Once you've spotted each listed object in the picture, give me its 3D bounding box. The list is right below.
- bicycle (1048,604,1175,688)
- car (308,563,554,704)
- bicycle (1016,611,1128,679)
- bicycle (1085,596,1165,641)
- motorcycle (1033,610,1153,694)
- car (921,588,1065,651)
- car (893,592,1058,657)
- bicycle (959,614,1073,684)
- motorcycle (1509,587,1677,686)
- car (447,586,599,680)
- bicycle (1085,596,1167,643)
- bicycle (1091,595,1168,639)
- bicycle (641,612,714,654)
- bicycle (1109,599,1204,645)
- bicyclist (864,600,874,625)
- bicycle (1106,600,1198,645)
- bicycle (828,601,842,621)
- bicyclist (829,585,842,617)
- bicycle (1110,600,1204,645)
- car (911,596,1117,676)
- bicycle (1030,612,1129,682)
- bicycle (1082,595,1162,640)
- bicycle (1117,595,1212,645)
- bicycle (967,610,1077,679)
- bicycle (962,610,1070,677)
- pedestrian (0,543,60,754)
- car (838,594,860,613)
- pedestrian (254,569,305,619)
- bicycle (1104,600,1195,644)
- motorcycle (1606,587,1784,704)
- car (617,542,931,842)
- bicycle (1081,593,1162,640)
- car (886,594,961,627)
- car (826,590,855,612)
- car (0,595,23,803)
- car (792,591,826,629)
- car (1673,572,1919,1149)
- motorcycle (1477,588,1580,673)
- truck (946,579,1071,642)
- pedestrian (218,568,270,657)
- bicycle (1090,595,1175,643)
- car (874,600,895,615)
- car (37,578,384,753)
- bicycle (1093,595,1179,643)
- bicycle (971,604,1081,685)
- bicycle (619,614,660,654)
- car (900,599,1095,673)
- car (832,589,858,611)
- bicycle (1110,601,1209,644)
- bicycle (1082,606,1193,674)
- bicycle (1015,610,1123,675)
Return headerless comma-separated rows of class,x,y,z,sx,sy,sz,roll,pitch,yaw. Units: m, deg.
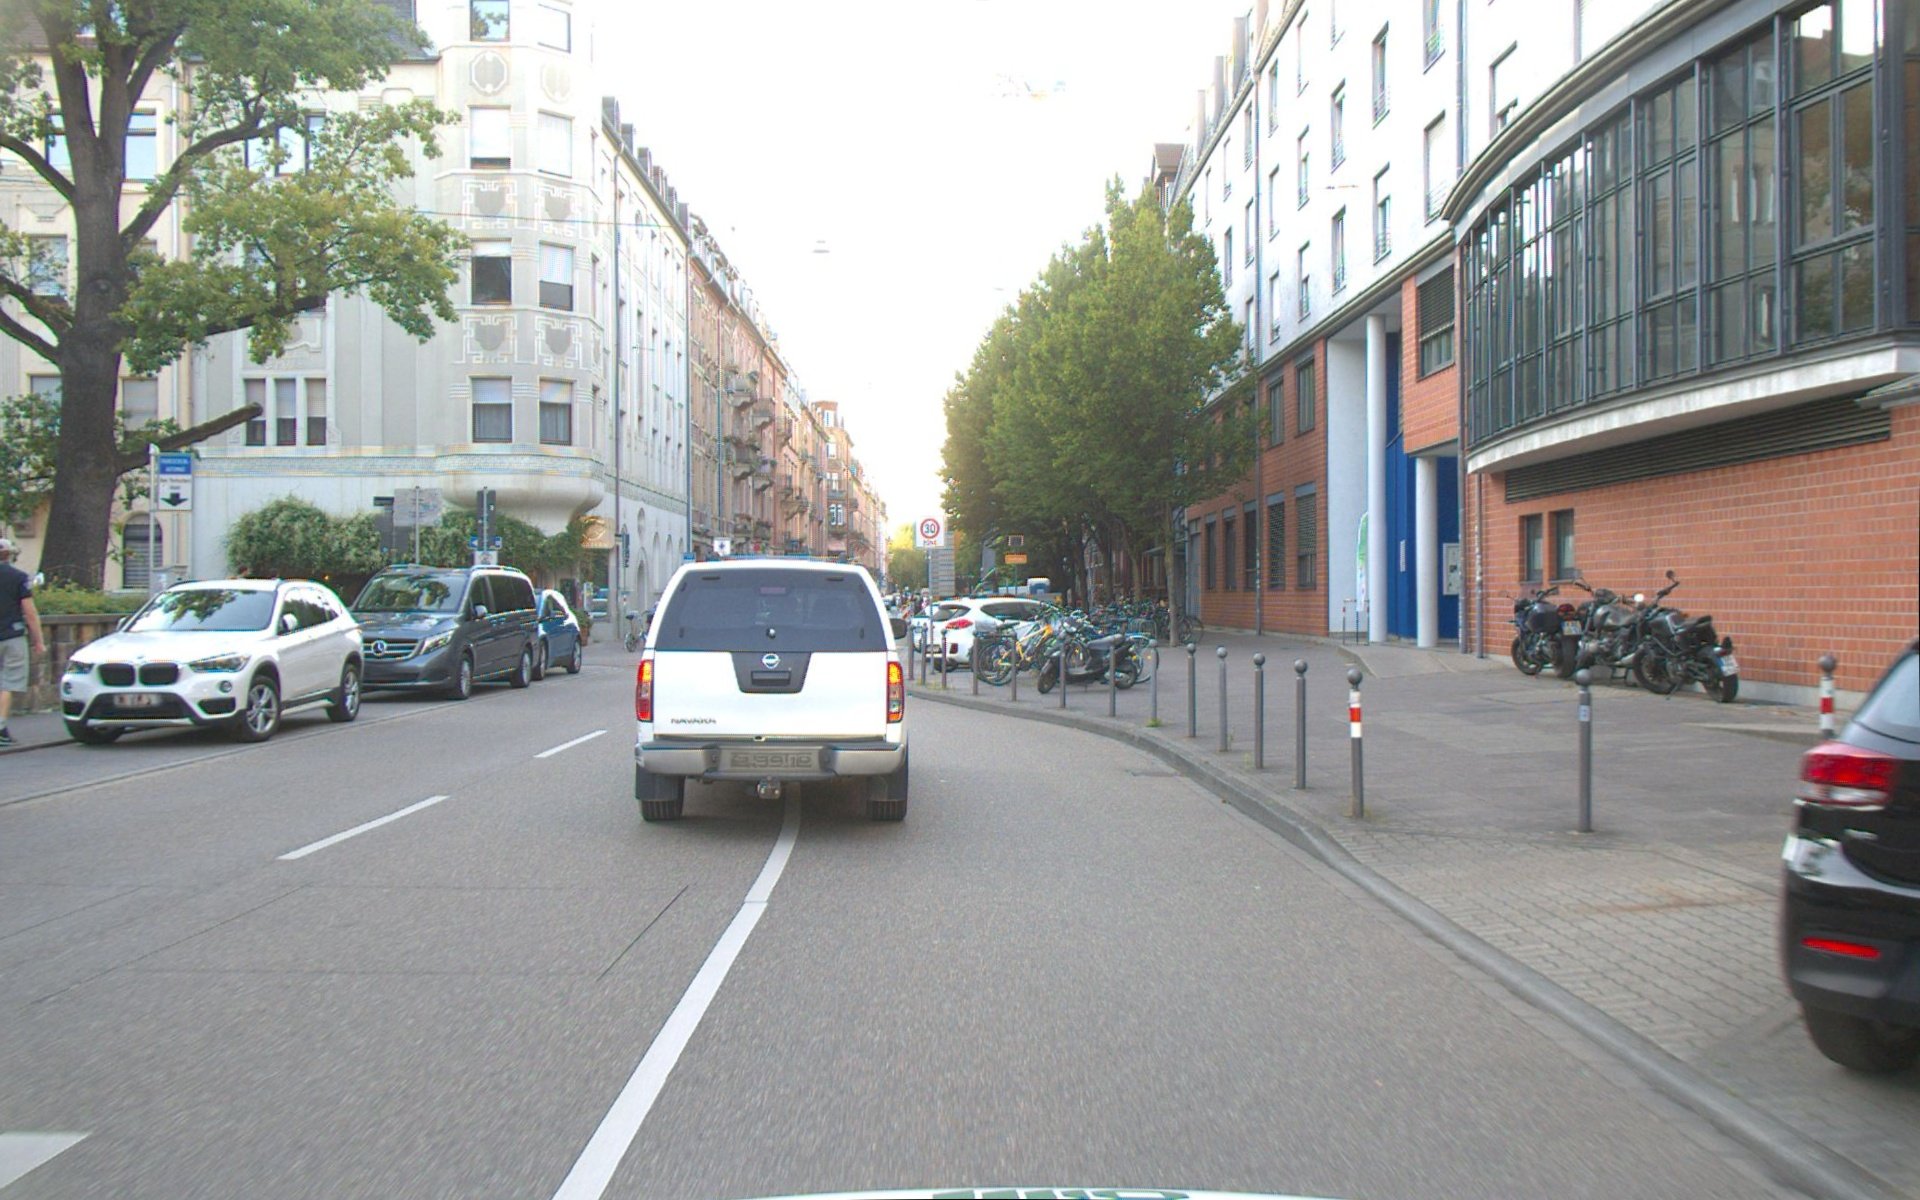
bicycle,2.323,0.697,25.475,1.821,1.166,0.659,-4,0,-1
car,-7.763,0.445,24.880,1.952,1.899,5.290,0,0,1
bicycle,1.876,0.748,27.823,1.820,1.056,0.402,-2,0,-3
bicycle,5.188,0.576,52.053,2.482,1.403,0.599,0,0,1
motorcycle,1.942,0.749,24.290,1.614,1.121,0.646,-3,0,-10
car,0.900,0.501,44.602,3.562,1.608,1.696,-1,0,-34
car,0.417,0.585,41.859,3.948,1.564,1.618,-1,0,-32
bicycle,0.911,0.796,27.216,1.820,1.056,0.471,-2,0,-3
motorcycle,8.064,0.448,21.202,0.762,1.159,2.408,-2,0,-13
car,-7.846,0.558,30.009,1.606,1.583,4.005,0,0,1
bicycle,5.144,0.598,51.254,2.482,1.403,0.599,0,0,1
bicycle,5.603,0.554,54.662,2.482,1.403,0.599,0,0,1
bicycle,-7.839,0.902,45.802,2.067,1.114,0.501,1,1,24
bicycle,5.236,0.582,44.231,2.482,1.187,0.562,0,0,1
bicyclist,-7.115,0.982,129.324,0.784,1.882,0.943,0,0,-3
bicycle,5.276,0.614,45.504,2.482,1.187,0.562,0,0,1
bicycle,-6.641,0.564,88.017,0.602,1.058,1.903,0,0,-1
bicyclist,-6.638,0.040,88.017,0.590,1.714,1.142,0,0,0
bicycle,5.324,0.612,44.847,2.482,1.187,0.562,0,0,1
car,1.124,0.704,34.024,3.945,1.533,1.752,-1,0,-30
bicycle,1.925,0.751,26.695,1.509,1.056,0.471,-2,0,-3
bicycle,5.155,0.541,52.720,2.482,1.403,0.599,0,0,1
bicycle,5.224,0.517,42.402,2.298,1.118,0.680,-4,0,1
bicycle,1.052,0.753,28.236,1.820,1.084,0.445,-2,0,-3
bicycle,0.970,0.756,28.882,1.820,1.084,0.445,-2,0,-3
pedestrian,-9.011,0.449,15.648,0.570,1.939,0.802,0,0,-4
car,-9.564,0.314,142.792,1.810,1.579,4.352,0,0,-3
pedestrian,-13.712,-0.123,33.360,0.692,0.997,0.836,-1,0,-3
bicycle,5.283,0.610,46.115,2.482,1.187,0.562,0,0,1
motorcycle,7.999,0.462,18.141,0.783,1.159,2.439,-3,0,-1
car,-1.222,0.565,12.423,1.894,1.826,4.620,1,0,-2
bicycle,5.215,0.545,53.428,2.483,1.266,0.599,-6,0,1
car,-2.071,0.586,94.153,4.107,1.811,1.821,0,0,5
car,-8.577,0.057,118.827,1.755,1.557,4.000,0,0,0
car,-7.645,0.701,9.750,1.746,1.460,4.316,0,0,1
car,-8.167,0.530,89.903,1.528,1.955,3.855,2,0,-1
car,4.281,0.669,5.313,4.017,1.518,1.705,0,0,-32
motorcycle,8.088,0.423,23.615,0.576,1.122,2.082,-3,0,-4
truck,2.451,0.543,83.564,6.190,3.029,2.264,0,-3,0
pedestrian,-14.416,0.248,33.319,0.692,1.751,0.836,-1,0,-3
bicycle,5.185,0.565,49.832,2.482,1.403,0.599,0,0,1
car,-7.869,0.754,172.539,1.808,1.579,4.356,0,0,2
car,-7.804,0.612,17.757,1.833,1.619,4.466,0,0,-2
bicycle,5.219,0.563,49.119,2.482,1.403,0.599,0,0,1
bicycle,1.037,0.697,26.143,1.673,1.196,0.471,-2,0,-3
bicycle,-8.671,0.910,44.804,0.414,1.030,1.720,0,1,13
car,0.837,0.780,36.423,3.952,1.499,1.853,-1,-1,-34
car,-8.682,-0.001,125.104,1.675,1.557,3.999,0,0,-1
bicycle,5.256,0.596,43.610,2.482,0.976,0.680,-4,0,1
bicycle,3.068,0.684,28.619,1.820,1.084,0.524,-2,0,-3
bicycle,1.956,0.763,29.761,1.873,1.084,0.524,-2,0,-3
